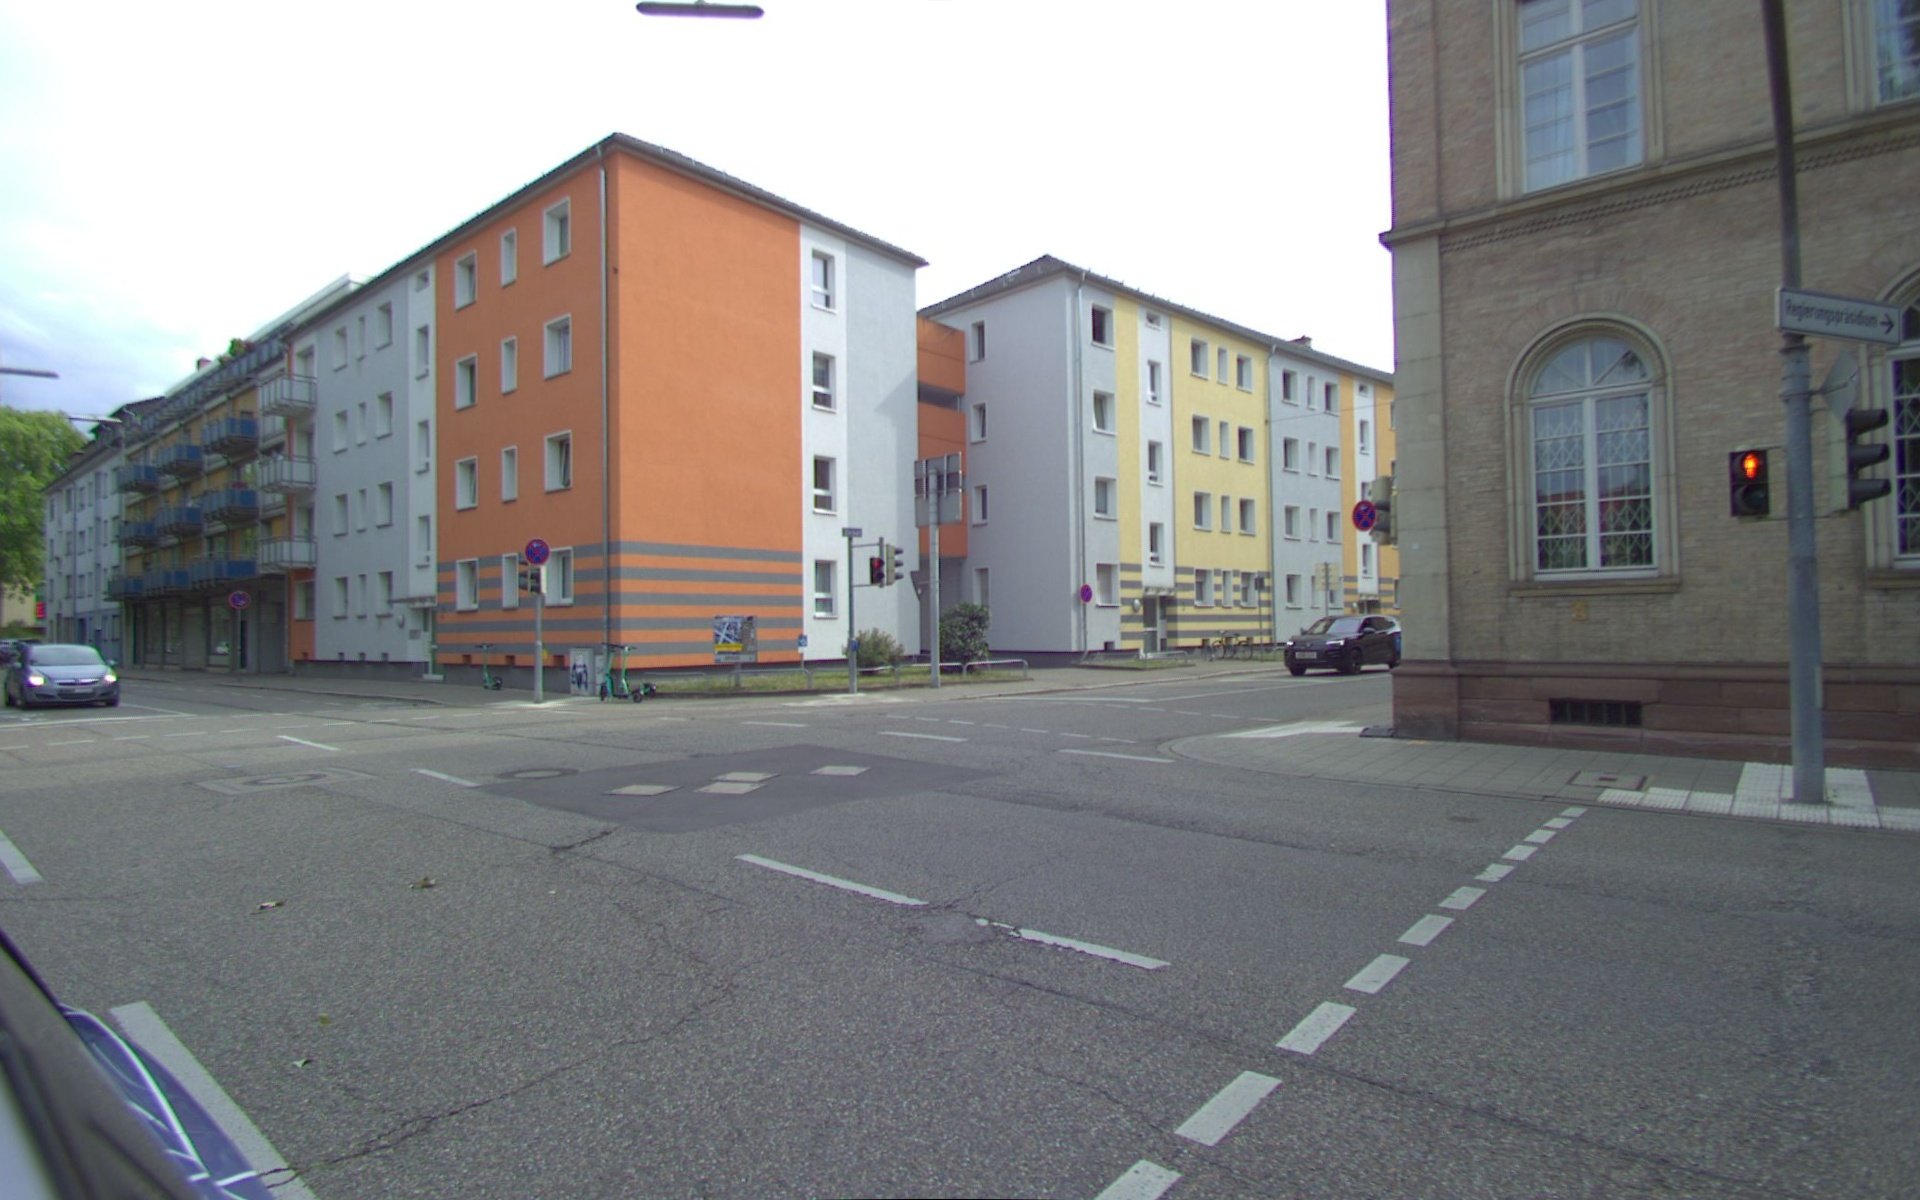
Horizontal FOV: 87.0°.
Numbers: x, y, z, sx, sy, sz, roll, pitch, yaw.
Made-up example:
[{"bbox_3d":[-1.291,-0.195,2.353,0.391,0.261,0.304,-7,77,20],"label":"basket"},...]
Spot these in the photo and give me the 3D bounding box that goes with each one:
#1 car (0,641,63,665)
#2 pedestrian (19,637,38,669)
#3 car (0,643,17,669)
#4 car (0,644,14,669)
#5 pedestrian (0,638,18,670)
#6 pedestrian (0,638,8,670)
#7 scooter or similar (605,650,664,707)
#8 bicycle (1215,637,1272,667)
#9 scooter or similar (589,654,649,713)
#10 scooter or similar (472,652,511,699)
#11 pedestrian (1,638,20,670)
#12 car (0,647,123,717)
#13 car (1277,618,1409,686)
[{"bbox_3d":[-75.677,4.290,82.353,1.881,1.701,3.822,-3,-1,40],"label":"car"},{"bbox_3d":[-60.155,3.429,65.380,0.875,2.029,0.831,-3,-1,45],"label":"pedestrian"},{"bbox_3d":[-80.609,4.692,83.491,1.998,2.029,3.947,-3,-1,40],"label":"car"},{"bbox_3d":[-82.666,4.861,85.374,1.998,2.029,3.947,-3,-1,40],"label":"car"},{"bbox_3d":[-62.505,3.533,66.511,0.875,2.029,0.831,-3,-1,45],"label":"pedestrian"},{"bbox_3d":[-62.521,3.525,65.792,0.875,2.029,0.831,-3,-1,45],"label":"pedestrian"},{"bbox_3d":[-6.995,1.678,21.711,1.347,1.166,0.327,-3,-1,28],"label":"scooter or similar"},{"bbox_3d":[9.870,1.815,35.298,1.867,1.019,0.554,-3,-1,45],"label":"bicycle"},{"bbox_3d":[-7.097,1.724,21.028,1.336,1.188,0.327,-3,-1,28],"label":"scooter or similar"},{"bbox_3d":[-11.886,1.906,25.649,1.353,1.133,0.364,-3,-1,41],"label":"scooter or similar"},{"bbox_3d":[-60.632,3.439,64.622,0.875,2.029,0.831,-3,-1,45],"label":"pedestrian"},{"bbox_3d":[-20.659,1.822,23.175,3.817,1.450,1.651,-3,-3,40],"label":"car"},{"bbox_3d":[10.642,1.395,27.988,3.941,1.612,1.900,-1,-1,-45],"label":"car"}]
